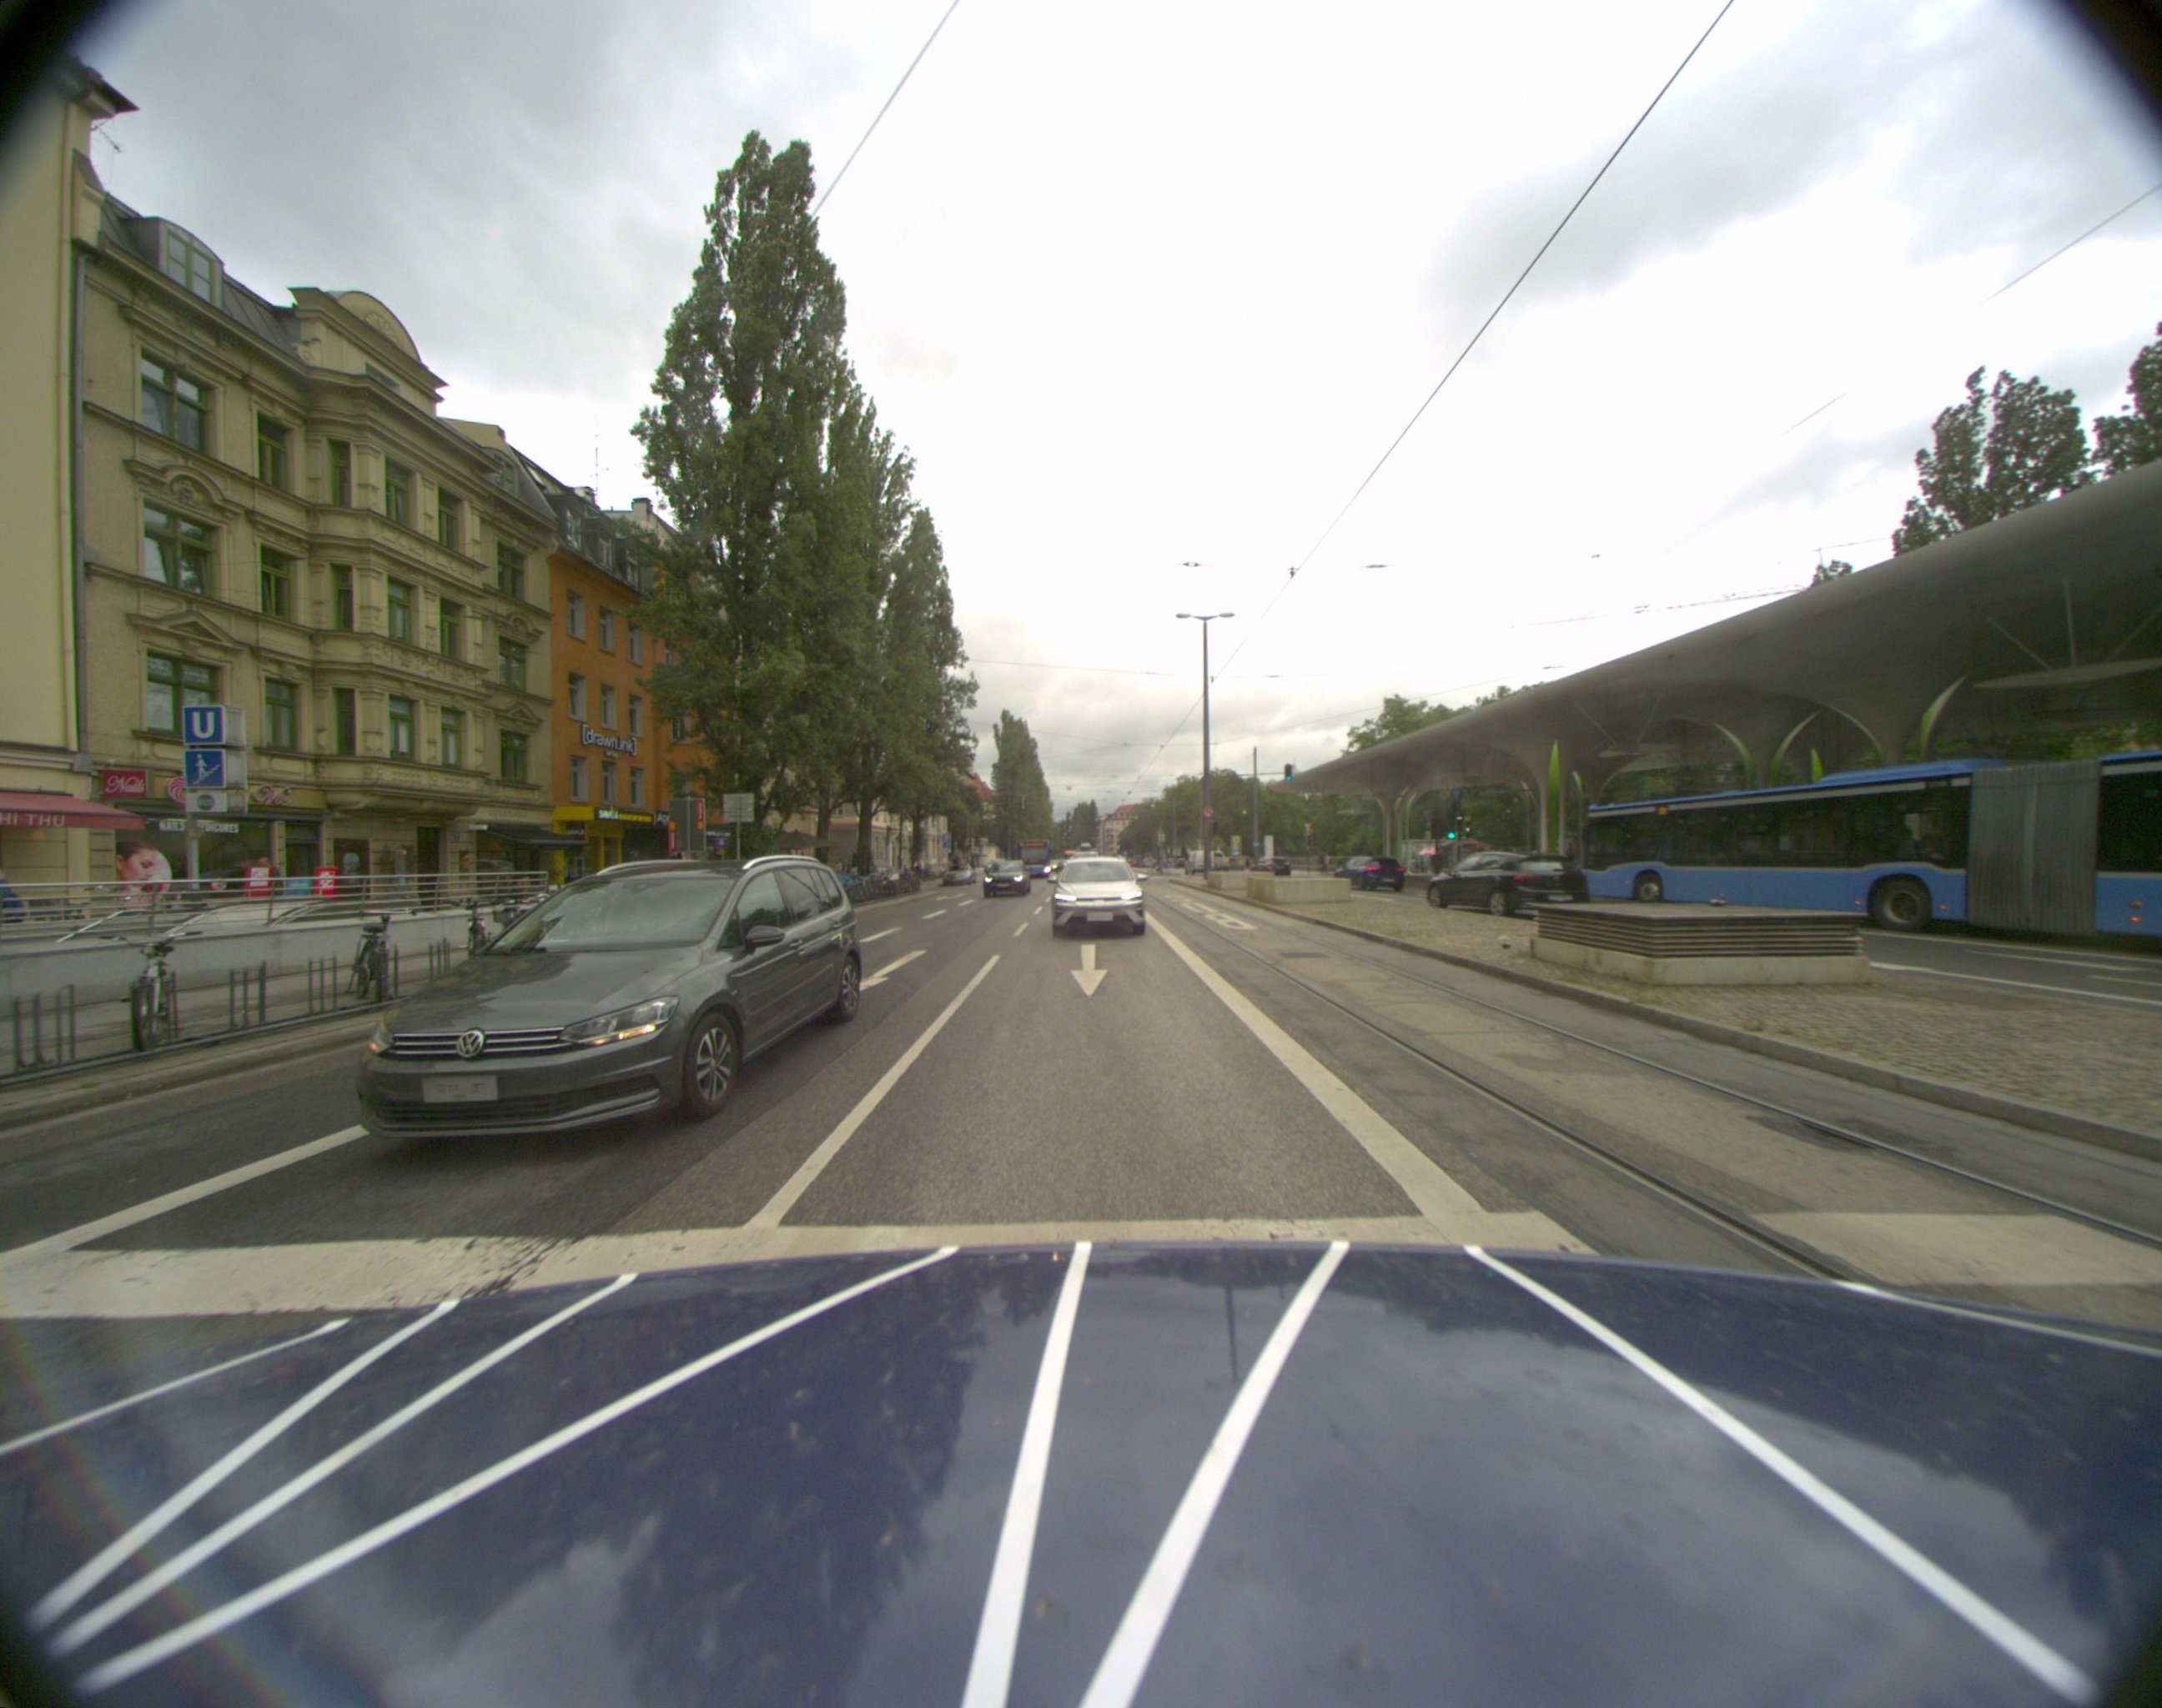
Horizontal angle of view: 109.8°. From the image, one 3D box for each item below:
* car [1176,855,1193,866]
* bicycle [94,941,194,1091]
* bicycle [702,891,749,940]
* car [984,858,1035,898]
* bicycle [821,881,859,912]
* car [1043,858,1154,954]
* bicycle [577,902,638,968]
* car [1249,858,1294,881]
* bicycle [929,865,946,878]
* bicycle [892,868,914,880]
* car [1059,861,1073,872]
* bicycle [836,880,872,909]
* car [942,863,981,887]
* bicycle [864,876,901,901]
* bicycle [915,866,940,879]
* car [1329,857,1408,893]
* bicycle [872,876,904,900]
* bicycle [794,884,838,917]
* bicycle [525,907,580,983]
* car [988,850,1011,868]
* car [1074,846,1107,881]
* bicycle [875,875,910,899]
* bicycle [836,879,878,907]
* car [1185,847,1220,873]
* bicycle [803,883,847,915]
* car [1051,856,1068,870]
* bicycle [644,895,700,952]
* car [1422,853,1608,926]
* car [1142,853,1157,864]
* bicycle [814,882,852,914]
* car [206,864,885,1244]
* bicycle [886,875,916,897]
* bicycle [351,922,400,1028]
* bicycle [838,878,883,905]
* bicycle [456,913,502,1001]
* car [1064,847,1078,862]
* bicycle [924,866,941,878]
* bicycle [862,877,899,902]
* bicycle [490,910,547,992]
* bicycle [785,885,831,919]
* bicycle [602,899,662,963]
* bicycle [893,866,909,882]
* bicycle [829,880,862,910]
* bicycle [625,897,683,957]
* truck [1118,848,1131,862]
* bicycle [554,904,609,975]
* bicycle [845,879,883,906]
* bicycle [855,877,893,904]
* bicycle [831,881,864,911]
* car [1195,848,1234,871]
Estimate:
[{"bbox_3d":[15.728,0.961,115.845,1.998,1.561,4.102,-1,0,0],"label":"car"},{"bbox_3d":[-8.265,1.363,6.742,0.349,0.990,1.836,-1,1,-45],"label":"bicycle"},{"bbox_3d":[-8.112,1.369,17.310,1.836,0.990,0.349,0,1,45],"label":"bicycle"},{"bbox_3d":[-3.065,1.006,33.224,1.780,1.495,3.970,-2,0,0],"label":"car"},{"bbox_3d":[-8.089,1.422,25.467,1.837,0.990,0.326,-3,-1,43],"label":"bicycle"},{"bbox_3d":[0.373,0.888,15.213,1.812,1.496,4.953,-2,0,2],"label":"car"},{"bbox_3d":[-8.188,1.367,13.110,1.836,0.990,0.349,0,1,40],"label":"bicycle"},{"bbox_3d":[12.259,0.985,49.122,1.677,1.370,4.613,-1,0,-1],"label":"car"},{"bbox_3d":[-12.868,1.562,68.232,0.391,1.017,1.842,-1,1,27],"label":"bicycle"},{"bbox_3d":[-13.772,1.533,58.811,1.576,0.830,0.392,-2,1,-2],"label":"bicycle"},{"bbox_3d":[-1.912,1.611,97.259,1.704,1.360,3.633,2,-1,1],"label":"car"},{"bbox_3d":[-8.046,1.421,26.935,1.837,0.990,0.326,-3,-1,43],"label":"bicycle"},{"bbox_3d":[-7.851,1.338,50.289,1.999,1.432,4.528,-1,0,-1],"label":"car"},{"bbox_3d":[-8.123,1.431,31.058,1.837,0.990,0.376,-2,-1,38],"label":"bicycle"},{"bbox_3d":[-11.947,1.445,58.997,1.837,0.911,0.392,-2,1,2],"label":"bicycle"},{"bbox_3d":[12.077,0.828,32.218,1.682,1.387,4.232,0,0,-1],"label":"car"},{"bbox_3d":[-8.074,1.429,31.795,1.837,0.990,0.376,-3,-1,45],"label":"bicycle"},{"bbox_3d":[-8.213,1.427,23.502,1.837,0.990,0.326,-2,-1,37],"label":"bicycle"},{"bbox_3d":[-8.198,1.367,11.757,1.836,0.990,0.349,0,1,44],"label":"bicycle"},{"bbox_3d":[-7.732,0.484,72.432,1.737,1.651,4.502,-1,0,0],"label":"car"},{"bbox_3d":[0.608,0.602,49.507,1.998,2.100,3.999,-3,1,0],"label":"car"},{"bbox_3d":[-8.062,1.429,32.418,1.837,0.990,0.376,-2,-1,39],"label":"bicycle"},{"bbox_3d":[-8.136,1.426,27.588,1.837,0.990,0.326,-2,-1,33],"label":"bicycle"},{"bbox_3d":[9.189,0.439,57.716,1.791,1.844,4.217,0,0,-2],"label":"car"},{"bbox_3d":[-8.143,1.424,24.104,1.837,0.990,0.326,-2,-1,37],"label":"bicycle"},{"bbox_3d":[-2.420,0.971,85.041,1.704,1.425,4.245,-1,0,1],"label":"car"},{"bbox_3d":[-8.227,1.371,15.257,1.836,0.990,0.349,0,1,40],"label":"bicycle"},{"bbox_3d":[9.561,0.705,17.159,1.847,1.408,4.034,-1,0,-1],"label":"car"},{"bbox_3d":[10.759,0.676,120.312,1.868,1.629,4.677,1,0,-1],"label":"car"},{"bbox_3d":[-8.116,1.423,24.815,1.837,0.990,0.326,-3,-1,43],"label":"bicycle"},{"bbox_3d":[-3.101,0.965,5.885,1.776,1.637,4.708,-2,0,1],"label":"car"},{"bbox_3d":[-8.023,1.428,33.848,0.376,0.990,1.837,-1,-1,-44],"label":"bicycle"},{"bbox_3d":[-8.281,1.365,8.898,0.349,0.990,1.836,-1,1,-45],"label":"bicycle"},{"bbox_3d":[-8.418,1.437,29.034,1.837,0.990,0.376,-2,-1,25],"label":"bicycle"},{"bbox_3d":[-8.314,1.371,10.474,0.349,0.990,1.837,-1,1,-43],"label":"bicycle"},{"bbox_3d":[-1.996,0.062,154.849,2.806,2.836,5.114,-1,0,0],"label":"car"},{"bbox_3d":[-13.316,1.591,68.282,0.391,0.972,1.842,-1,1,27],"label":"bicycle"},{"bbox_3d":[-8.020,1.425,30.420,1.837,0.990,0.376,-2,-1,38],"label":"bicycle"},{"bbox_3d":[-8.194,1.366,11.040,1.836,0.990,0.349,0,1,44],"label":"bicycle"},{"bbox_3d":[-8.177,1.424,22.732,1.837,0.990,0.326,-2,-1,37],"label":"bicycle"},{"bbox_3d":[-8.159,1.366,13.775,1.836,0.990,0.349,0,1,40],"label":"bicycle"},{"bbox_3d":[-11.254,1.223,47.550,0.590,0.959,1.653,-1,0,1],"label":"bicycle"},{"bbox_3d":[-8.252,1.431,26.582,0.326,0.990,1.837,-1,-1,-42],"label":"bicycle"},{"bbox_3d":[-8.139,1.366,14.448,1.836,0.990,0.349,0,1,40],"label":"bicycle"},{"bbox_3d":[10.120,0.308,176.012,2.572,3.069,7.691,1,0,0],"label":"truck"},{"bbox_3d":[-8.190,1.367,12.423,1.836,0.990,0.349,0,1,44],"label":"bicycle"},{"bbox_3d":[-8.073,1.424,28.201,1.837,0.990,0.326,-2,-1,38],"label":"bicycle"},{"bbox_3d":[-8.086,1.428,29.673,1.837,0.990,0.376,-2,-1,38],"label":"bicycle"},{"bbox_3d":[-7.974,1.417,25.908,0.326,0.990,1.837,-1,-1,-43],"label":"bicycle"},{"bbox_3d":[11.688,0.458,67.060,2.181,1.876,6.155,1,0,-1],"label":"car"}]
